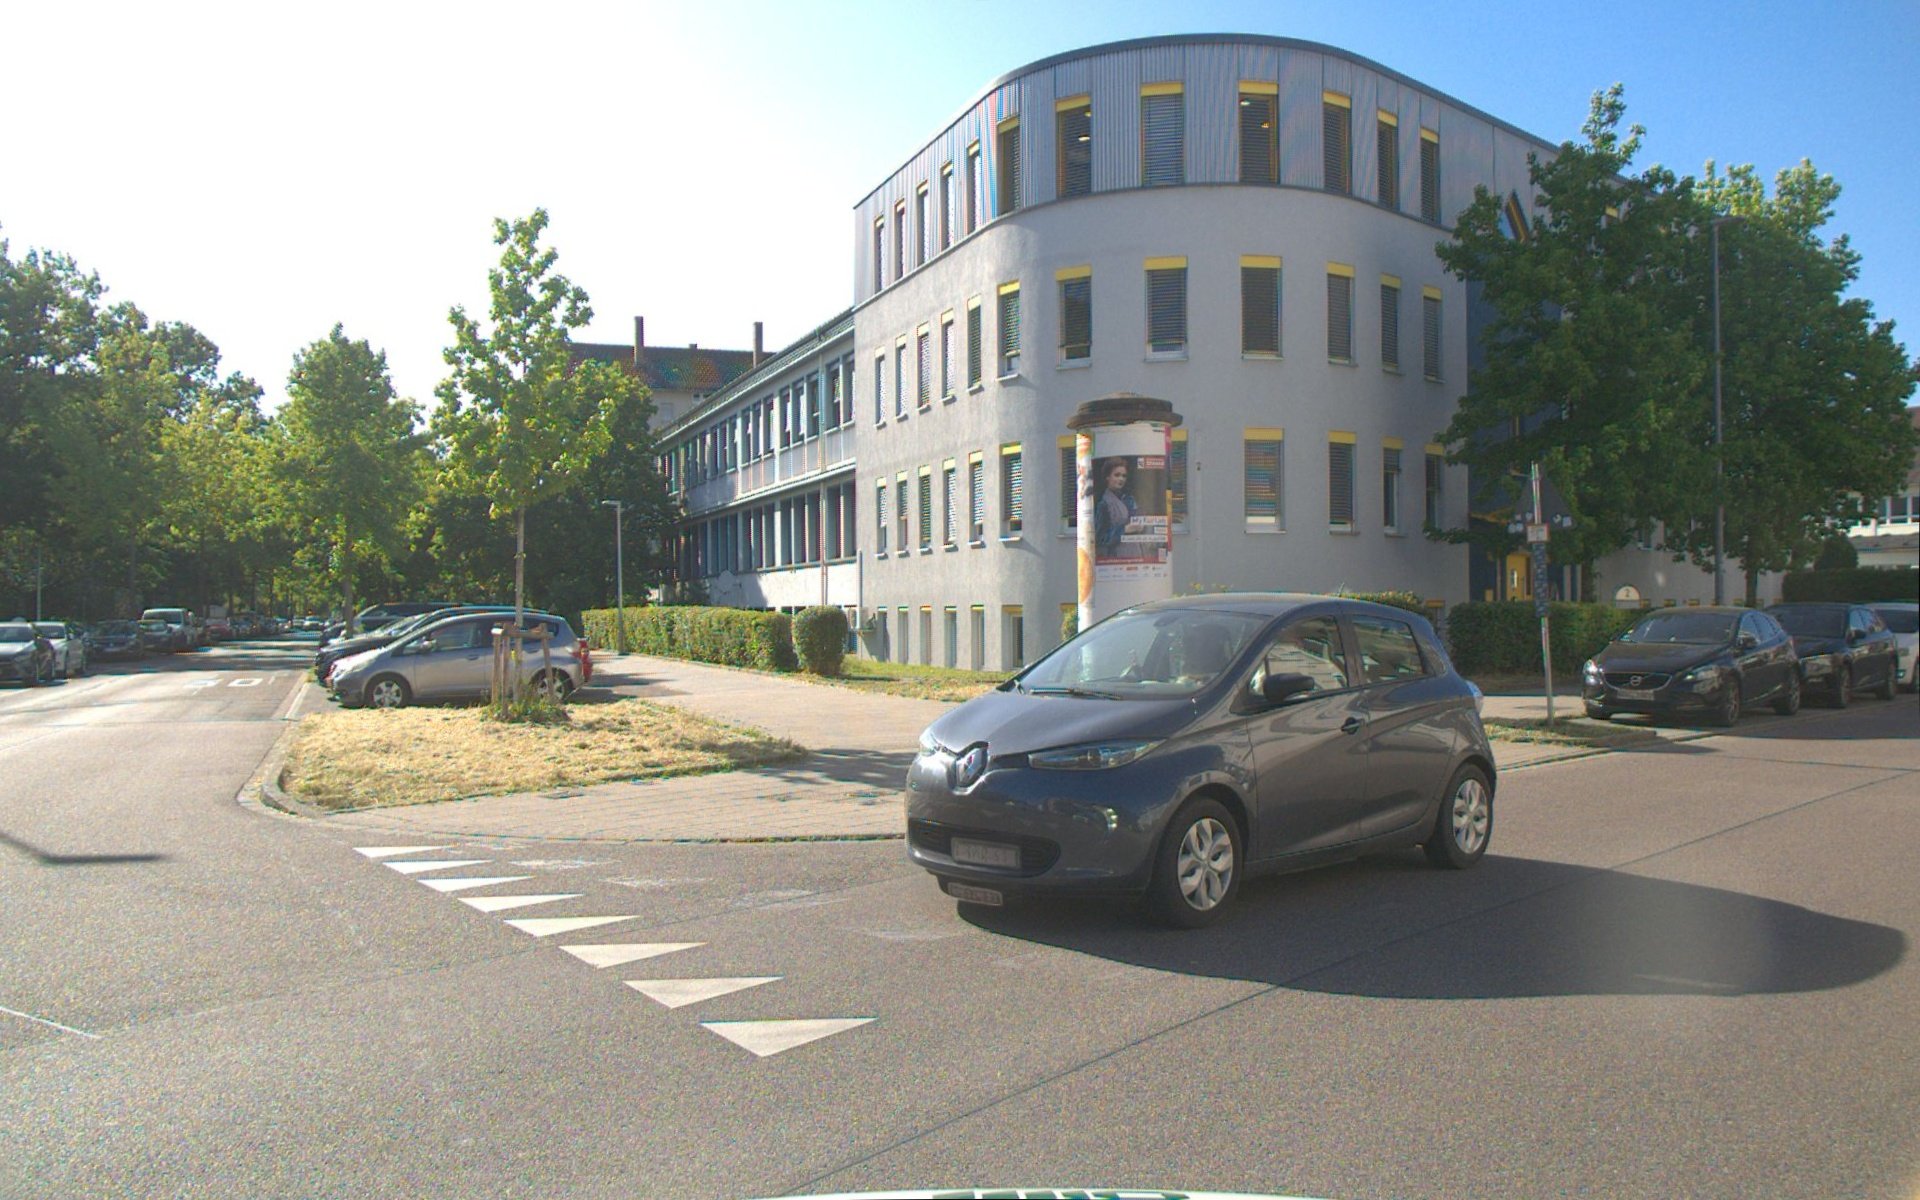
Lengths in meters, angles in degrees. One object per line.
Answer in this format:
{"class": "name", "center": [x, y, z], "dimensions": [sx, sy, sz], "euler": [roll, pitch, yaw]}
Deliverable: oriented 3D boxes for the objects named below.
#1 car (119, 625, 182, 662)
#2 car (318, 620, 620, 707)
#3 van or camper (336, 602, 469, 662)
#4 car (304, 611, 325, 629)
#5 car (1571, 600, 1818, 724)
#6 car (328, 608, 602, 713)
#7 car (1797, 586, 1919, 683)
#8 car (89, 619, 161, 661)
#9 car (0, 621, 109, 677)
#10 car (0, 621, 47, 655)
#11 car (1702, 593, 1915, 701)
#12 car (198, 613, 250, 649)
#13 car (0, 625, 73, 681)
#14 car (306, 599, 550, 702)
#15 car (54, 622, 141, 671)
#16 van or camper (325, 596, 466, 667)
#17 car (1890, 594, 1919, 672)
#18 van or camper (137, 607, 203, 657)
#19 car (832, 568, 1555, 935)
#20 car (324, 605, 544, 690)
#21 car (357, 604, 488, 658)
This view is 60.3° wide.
{"class": "car", "center": [-32.493, 1.742, 66.453], "dimensions": [1.815, 1.422, 3.977], "euler": [0, -1, -19]}
{"class": "car", "center": [-8.417, 1.049, 28.425], "dimensions": [4.807, 1.297, 1.715], "euler": [-1, -1, -25]}
{"class": "van or camper", "center": [-17.872, 1.041, 53.058], "dimensions": [3.930, 1.803, 1.987], "euler": [2, -2, -21]}
{"class": "car", "center": [-66.387, 2.064, 170.183], "dimensions": [1.965, 1.778, 3.975], "euler": [0, 0, -21]}
{"class": "car", "center": [9.670, 0.728, 21.605], "dimensions": [1.763, 1.435, 4.198], "euler": [0, 0, 42]}
{"class": "car", "center": [-7.917, 0.918, 26.452], "dimensions": [4.034, 1.518, 1.716], "euler": [-1, 0, -24]}
{"class": "car", "center": [16.296, 0.569, 28.892], "dimensions": [1.880, 1.557, 4.596], "euler": [0, -1, 42]}
{"class": "car", "center": [-29.715, 1.421, 58.954], "dimensions": [1.966, 1.432, 3.881], "euler": [2, -2, -22]}
{"class": "car", "center": [-24.107, 1.283, 44.096], "dimensions": [1.964, 1.422, 3.977], "euler": [0, -1, -19]}
{"class": "car", "center": [-35.863, 1.429, 63.187], "dimensions": [1.254, 1.246, 2.649], "euler": [-1, 0, -18]}
{"class": "car", "center": [13.030, 0.673, 25.276], "dimensions": [1.880, 1.505, 4.354], "euler": [0, -1, 42]}
{"class": "car", "center": [-43.466, 1.831, 97.762], "dimensions": [1.959, 2.049, 3.987], "euler": [2, -2, -12]}
{"class": "car", "center": [-22.111, 1.218, 38.853], "dimensions": [1.605, 1.256, 4.167], "euler": [2, -2, -20]}
{"class": "car", "center": [-10.044, 0.966, 31.210], "dimensions": [4.221, 1.796, 1.986], "euler": [2, -2, -23]}
{"class": "car", "center": [-26.511, 1.426, 50.975], "dimensions": [1.815, 1.422, 3.977], "euler": [0, -1, -19]}
{"class": "van or camper", "center": [-17.196, 0.978, 50.369], "dimensions": [3.930, 2.049, 1.987], "euler": [2, -2, -21]}
{"class": "car", "center": [19.834, 0.604, 32.338], "dimensions": [1.709, 1.465, 4.578], "euler": [-1, 0, 45]}
{"class": "van or camper", "center": [-34.361, 1.412, 72.060], "dimensions": [1.962, 2.049, 3.980], "euler": [2, -2, -17]}
{"class": "car", "center": [1.450, 0.673, 9.017], "dimensions": [4.107, 1.530, 1.812], "euler": [1, -1, -45]}
{"class": "car", "center": [-10.791, 0.984, 33.921], "dimensions": [4.146, 1.624, 1.986], "euler": [2, -2, -23]}
{"class": "car", "center": [-18.868, 1.079, 58.064], "dimensions": [4.221, 1.729, 1.986], "euler": [-2, -1, -23]}
